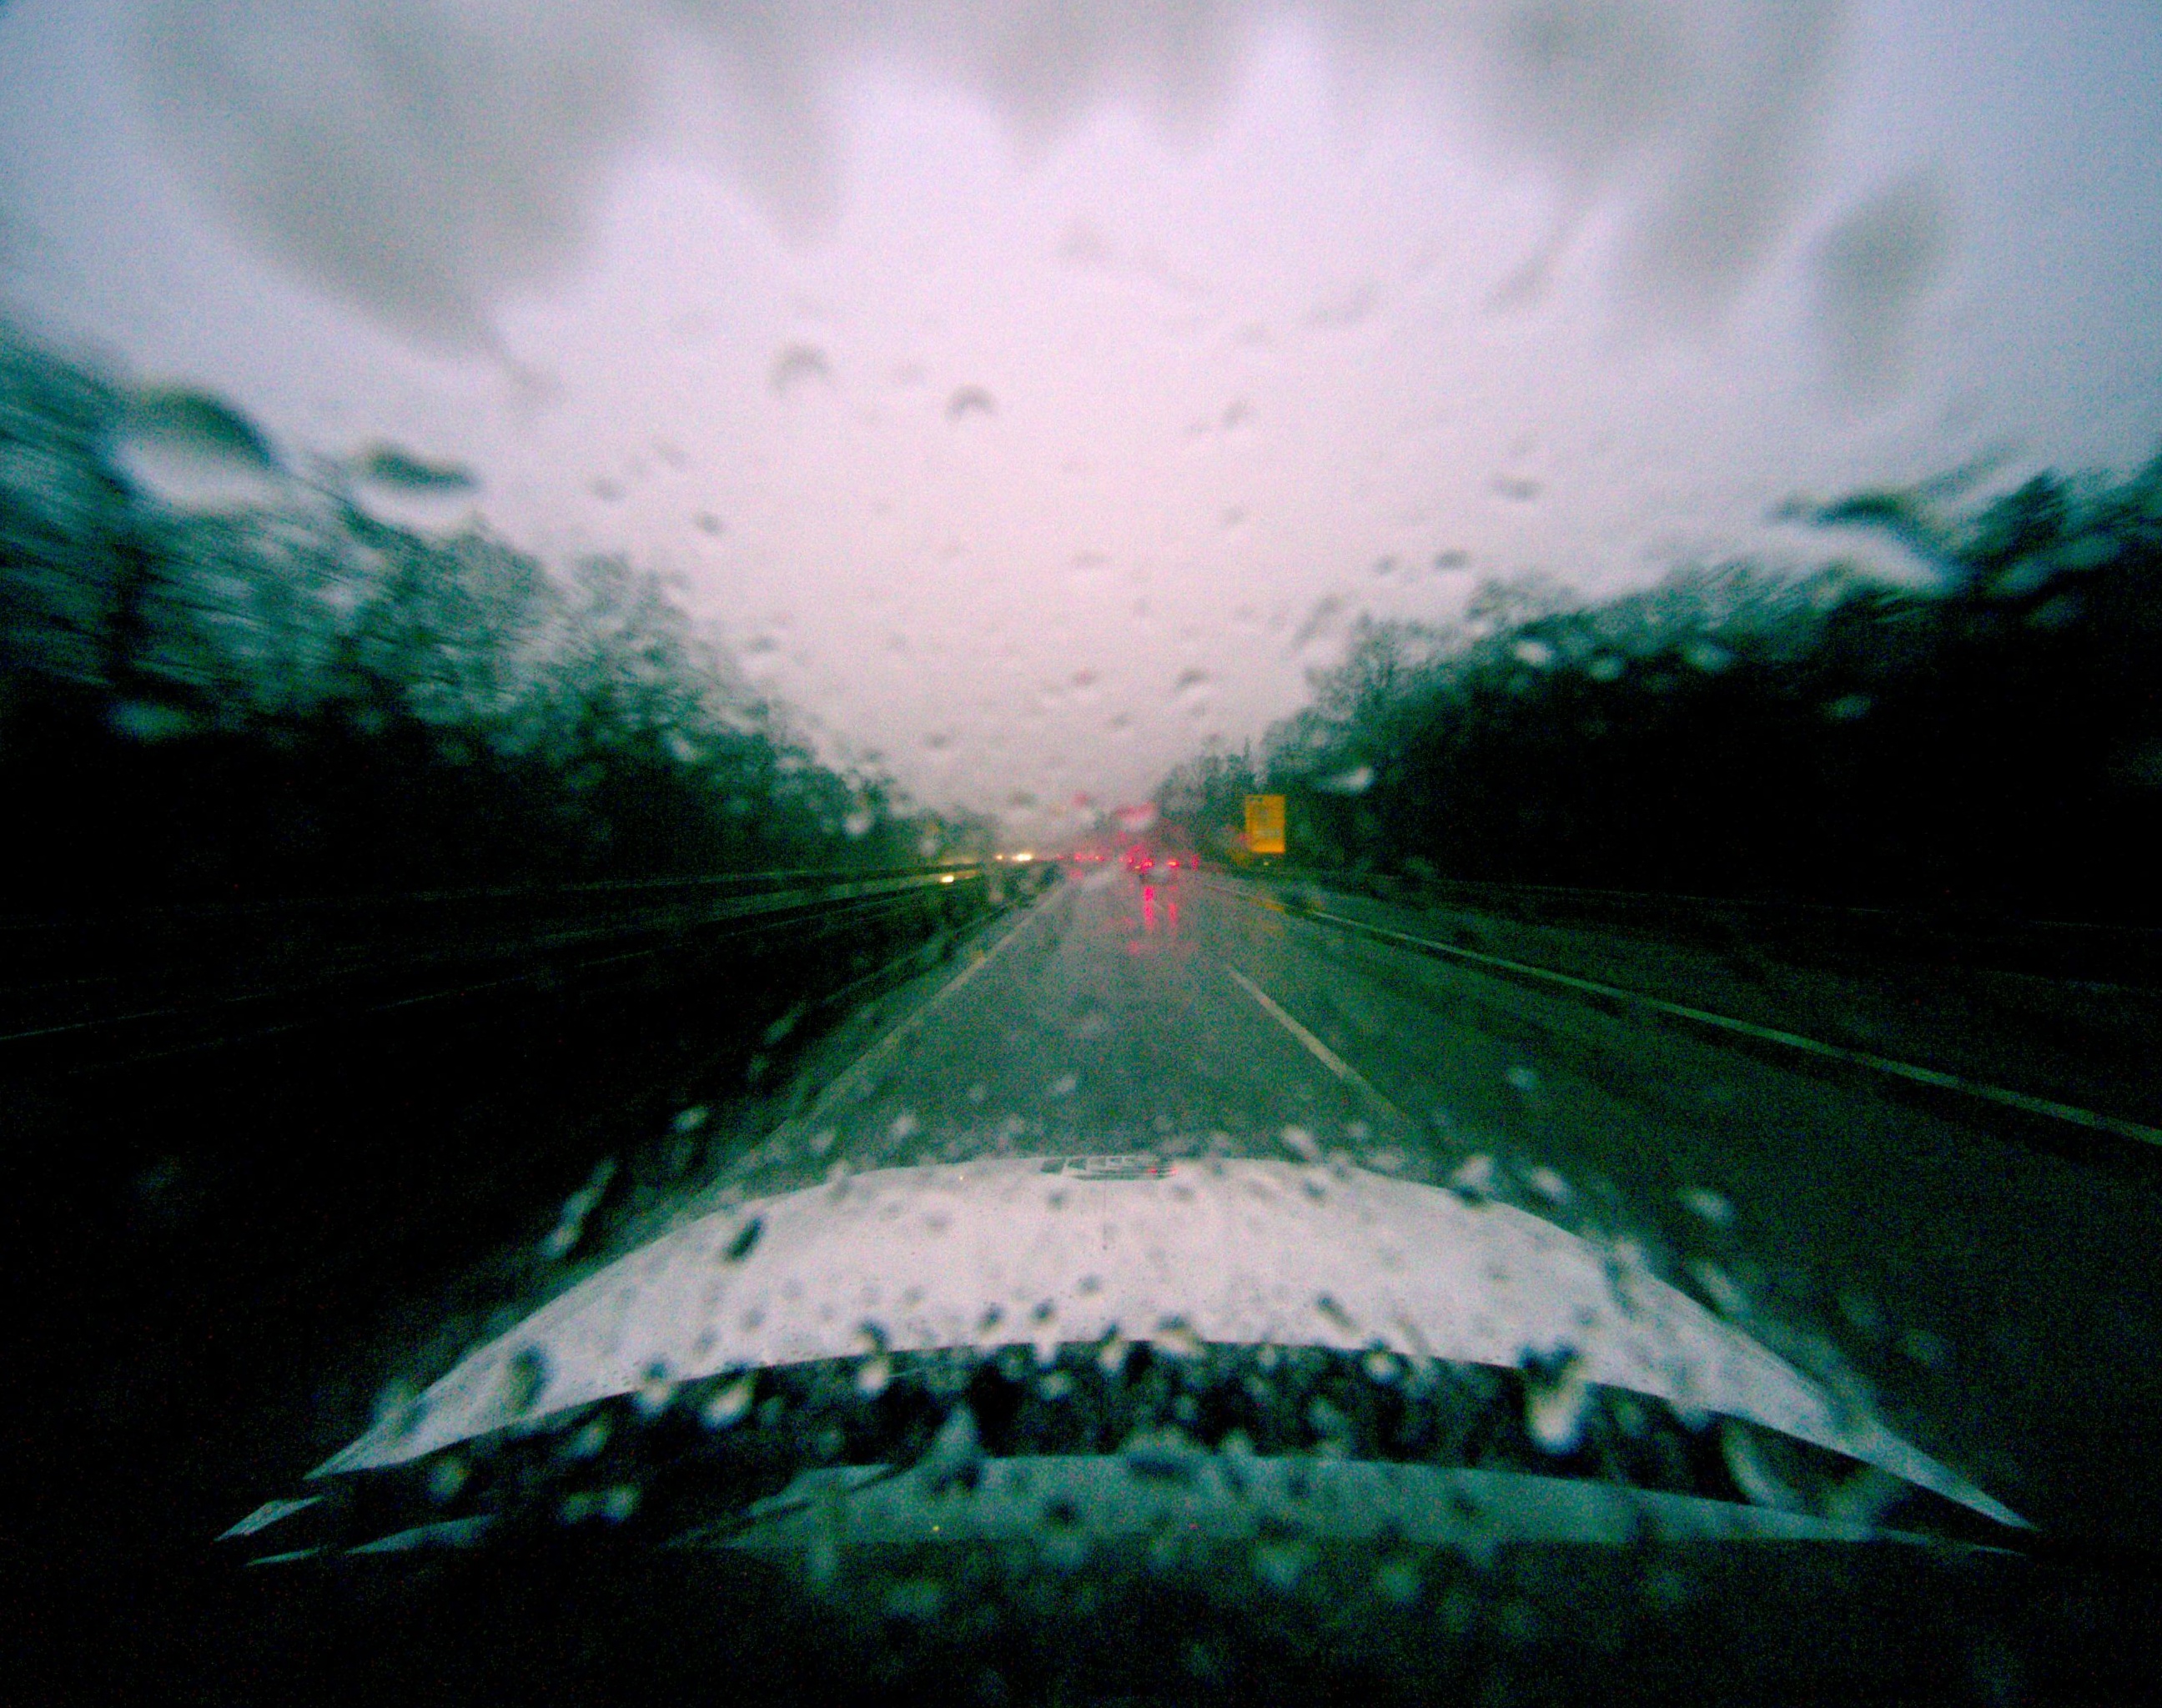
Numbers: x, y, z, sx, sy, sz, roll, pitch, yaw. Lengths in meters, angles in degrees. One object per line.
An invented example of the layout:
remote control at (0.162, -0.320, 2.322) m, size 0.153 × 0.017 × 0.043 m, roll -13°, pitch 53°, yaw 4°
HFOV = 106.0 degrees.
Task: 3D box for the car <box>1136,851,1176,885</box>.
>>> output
car at (4.018, 0.742, 44.340) m, size 1.984 × 1.715 × 3.832 m, roll -1°, pitch -1°, yaw 2°

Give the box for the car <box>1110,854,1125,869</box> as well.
car at (5.093, 1.011, 114.615) m, size 1.987 × 2.014 × 4.000 m, roll -1°, pitch -1°, yaw 0°

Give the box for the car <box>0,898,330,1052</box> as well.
car at (-9.660, 1.106, 8.319) m, size 1.269 × 1.168 × 2.882 m, roll -1°, pitch -1°, yaw 1°

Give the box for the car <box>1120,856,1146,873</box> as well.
car at (4.457, 0.900, 70.123) m, size 1.986 × 1.420 × 4.000 m, roll 1°, pitch -1°, yaw 1°
